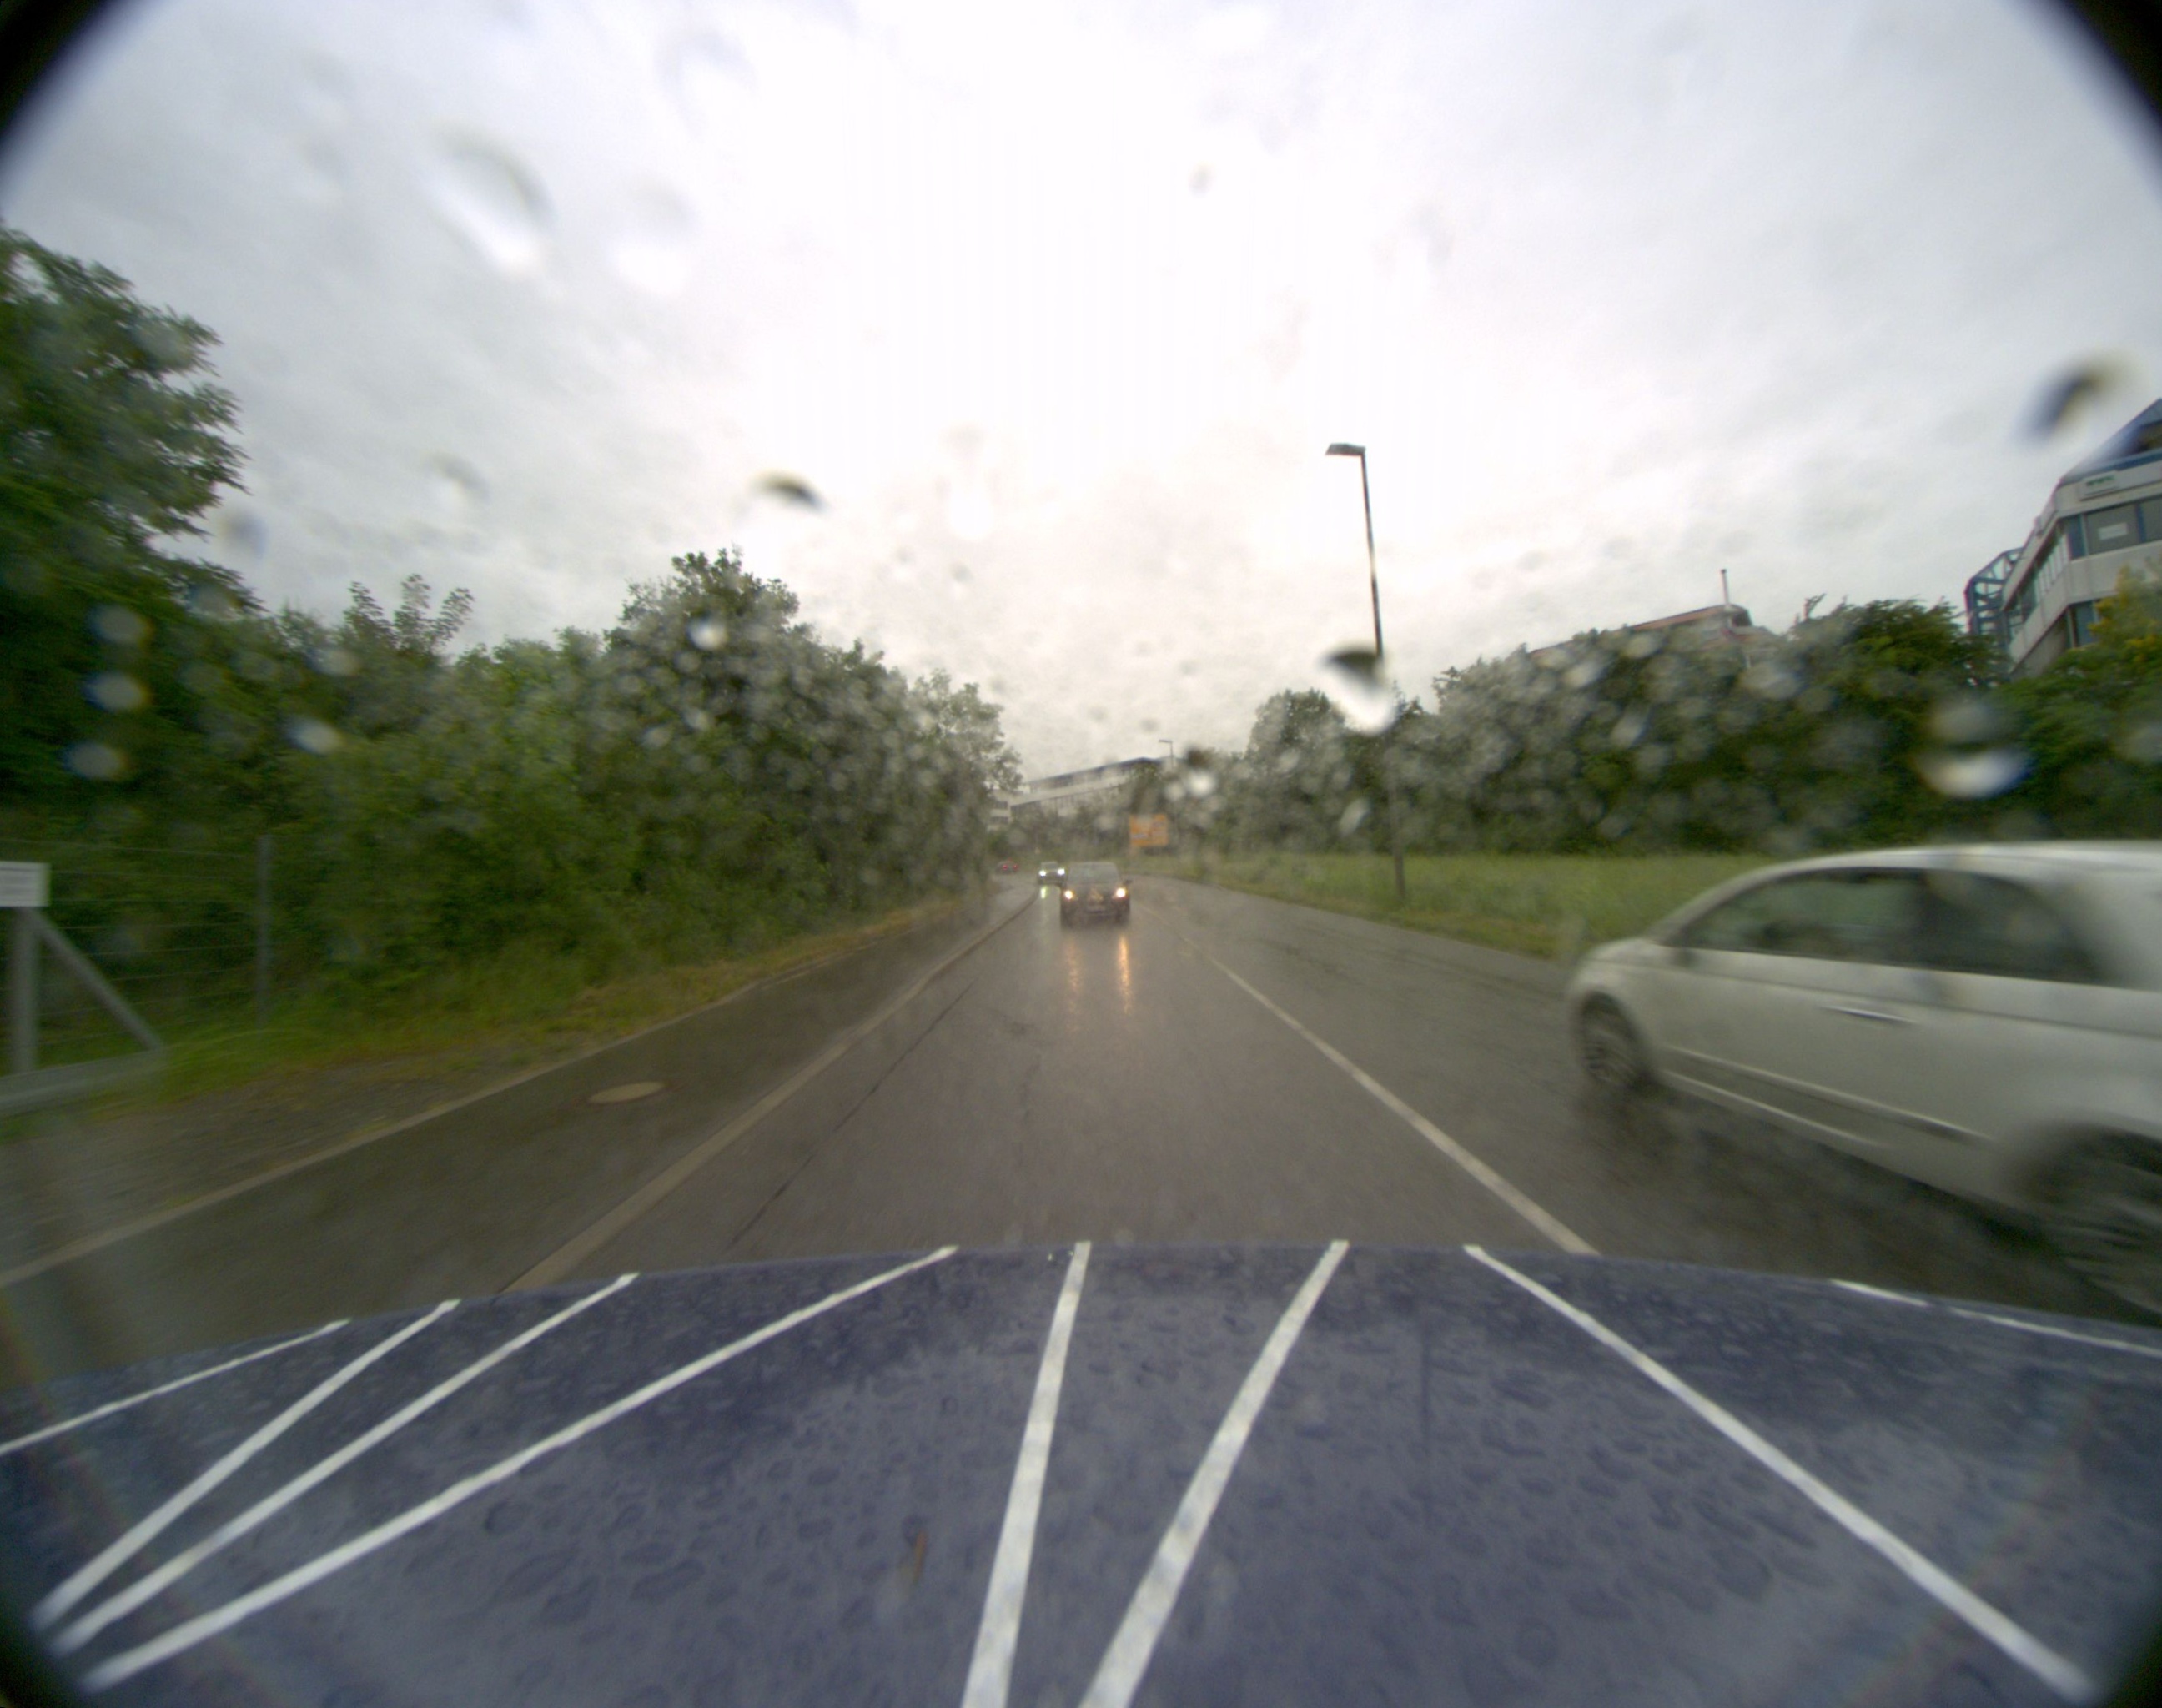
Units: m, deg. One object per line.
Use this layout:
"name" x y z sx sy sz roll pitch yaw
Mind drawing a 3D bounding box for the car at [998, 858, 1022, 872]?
"car" -8.719 1.366 93.305 1.872 1.543 4.260 -4 0 -20

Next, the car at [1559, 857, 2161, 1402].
"car" 3.876 0.791 3.119 1.643 1.480 3.454 -1 0 0

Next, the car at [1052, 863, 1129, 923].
"car" 0.196 0.998 21.091 1.874 1.432 4.377 -1 0 -1

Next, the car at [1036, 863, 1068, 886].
"car" -2.146 1.468 54.971 1.875 1.432 4.375 -4 -1 -8
